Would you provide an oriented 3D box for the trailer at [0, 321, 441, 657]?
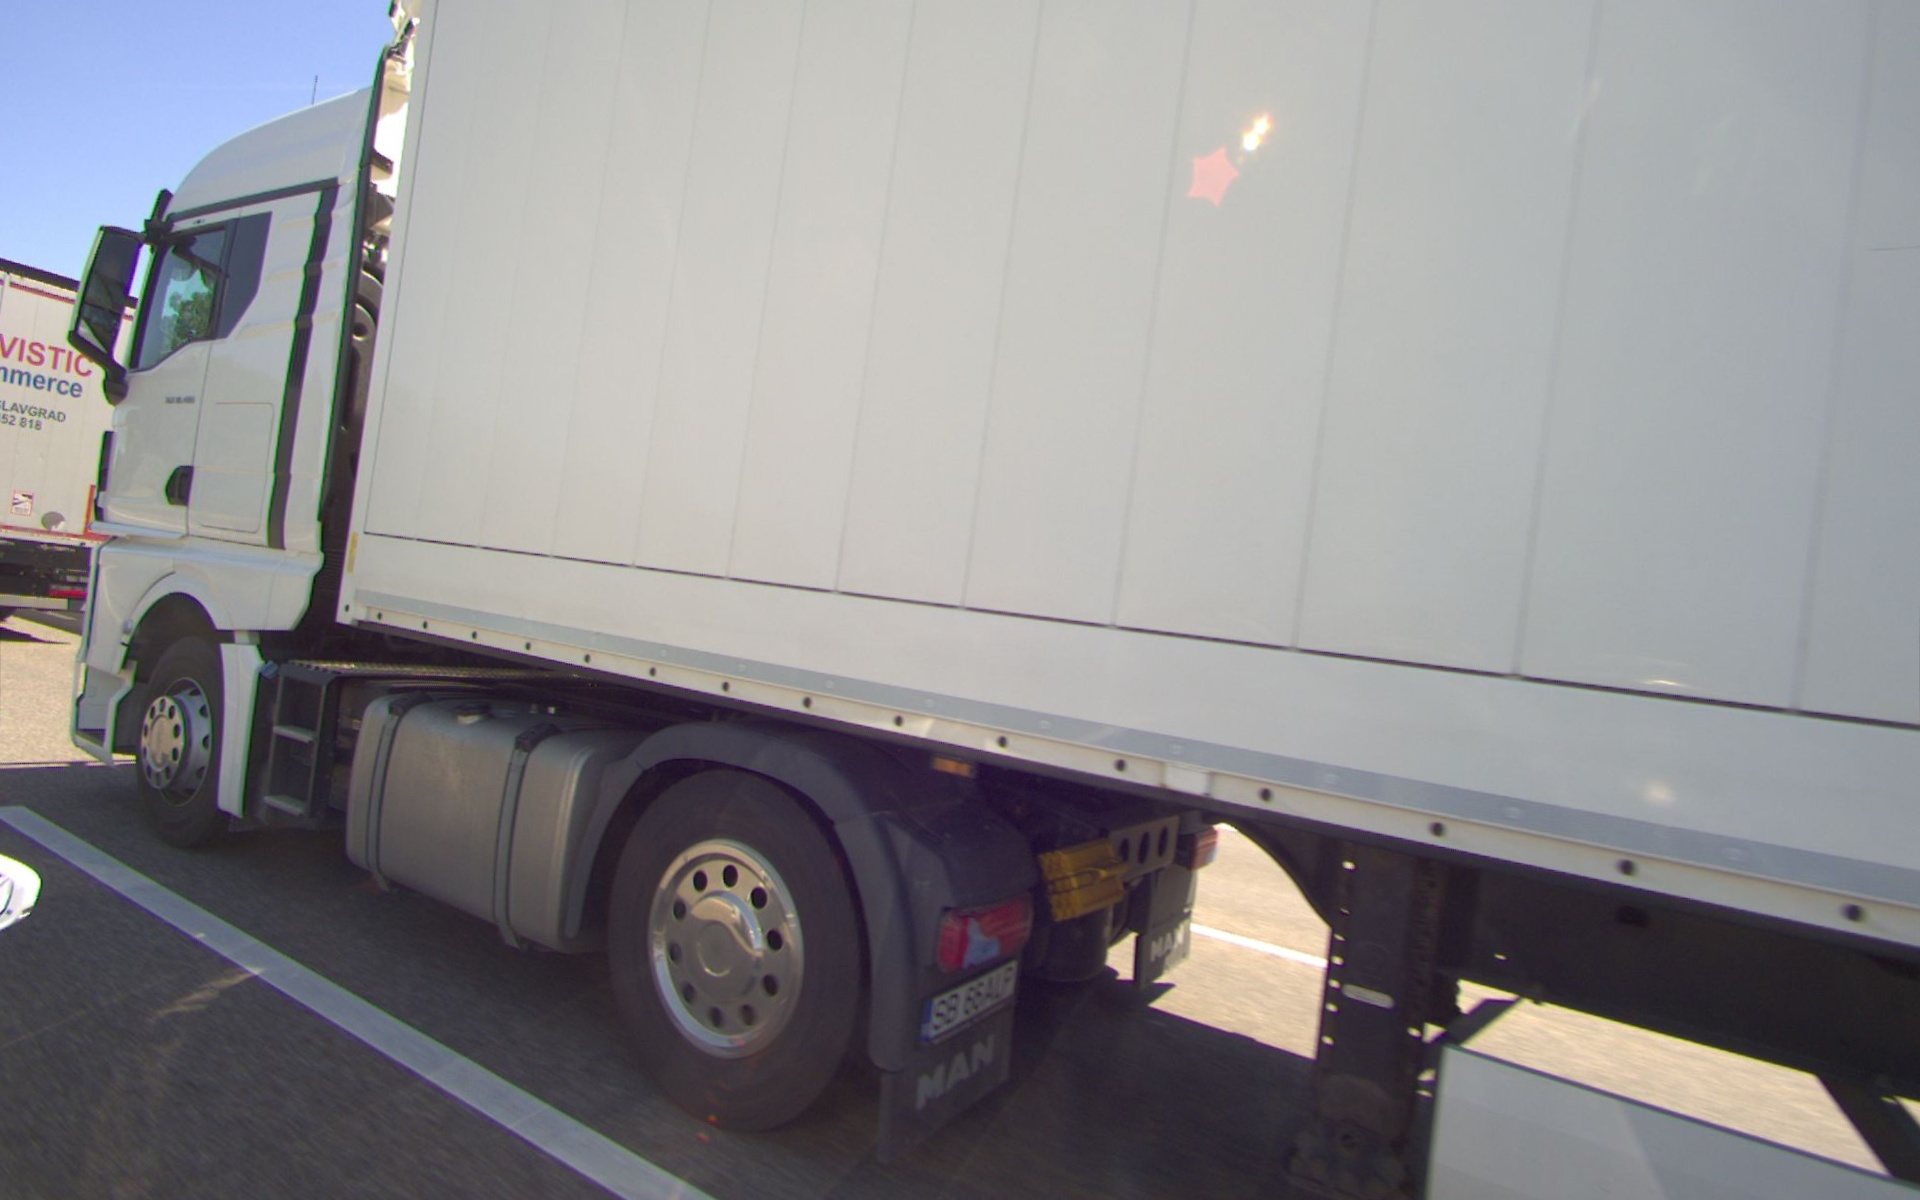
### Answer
[{"bbox_3d":[-13.046,-1.847,16.854,10.479,4.291,2.320,6,-1,32],"label":"trailer"}]

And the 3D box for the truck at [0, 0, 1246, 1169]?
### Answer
[{"bbox_3d":[-2.067,-0.776,5.214,5.920,4.055,2.805,7,-1,31],"label":"truck"}]

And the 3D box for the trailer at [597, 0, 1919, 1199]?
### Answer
[{"bbox_3d":[5.202,0.035,0.757,12.358,4.083,2.800,6,-1,31],"label":"trailer"}]

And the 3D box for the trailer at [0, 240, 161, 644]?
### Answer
[{"bbox_3d":[-16.253,-2.291,14.228,14.503,4.116,2.712,6,-2,32],"label":"trailer"}]
